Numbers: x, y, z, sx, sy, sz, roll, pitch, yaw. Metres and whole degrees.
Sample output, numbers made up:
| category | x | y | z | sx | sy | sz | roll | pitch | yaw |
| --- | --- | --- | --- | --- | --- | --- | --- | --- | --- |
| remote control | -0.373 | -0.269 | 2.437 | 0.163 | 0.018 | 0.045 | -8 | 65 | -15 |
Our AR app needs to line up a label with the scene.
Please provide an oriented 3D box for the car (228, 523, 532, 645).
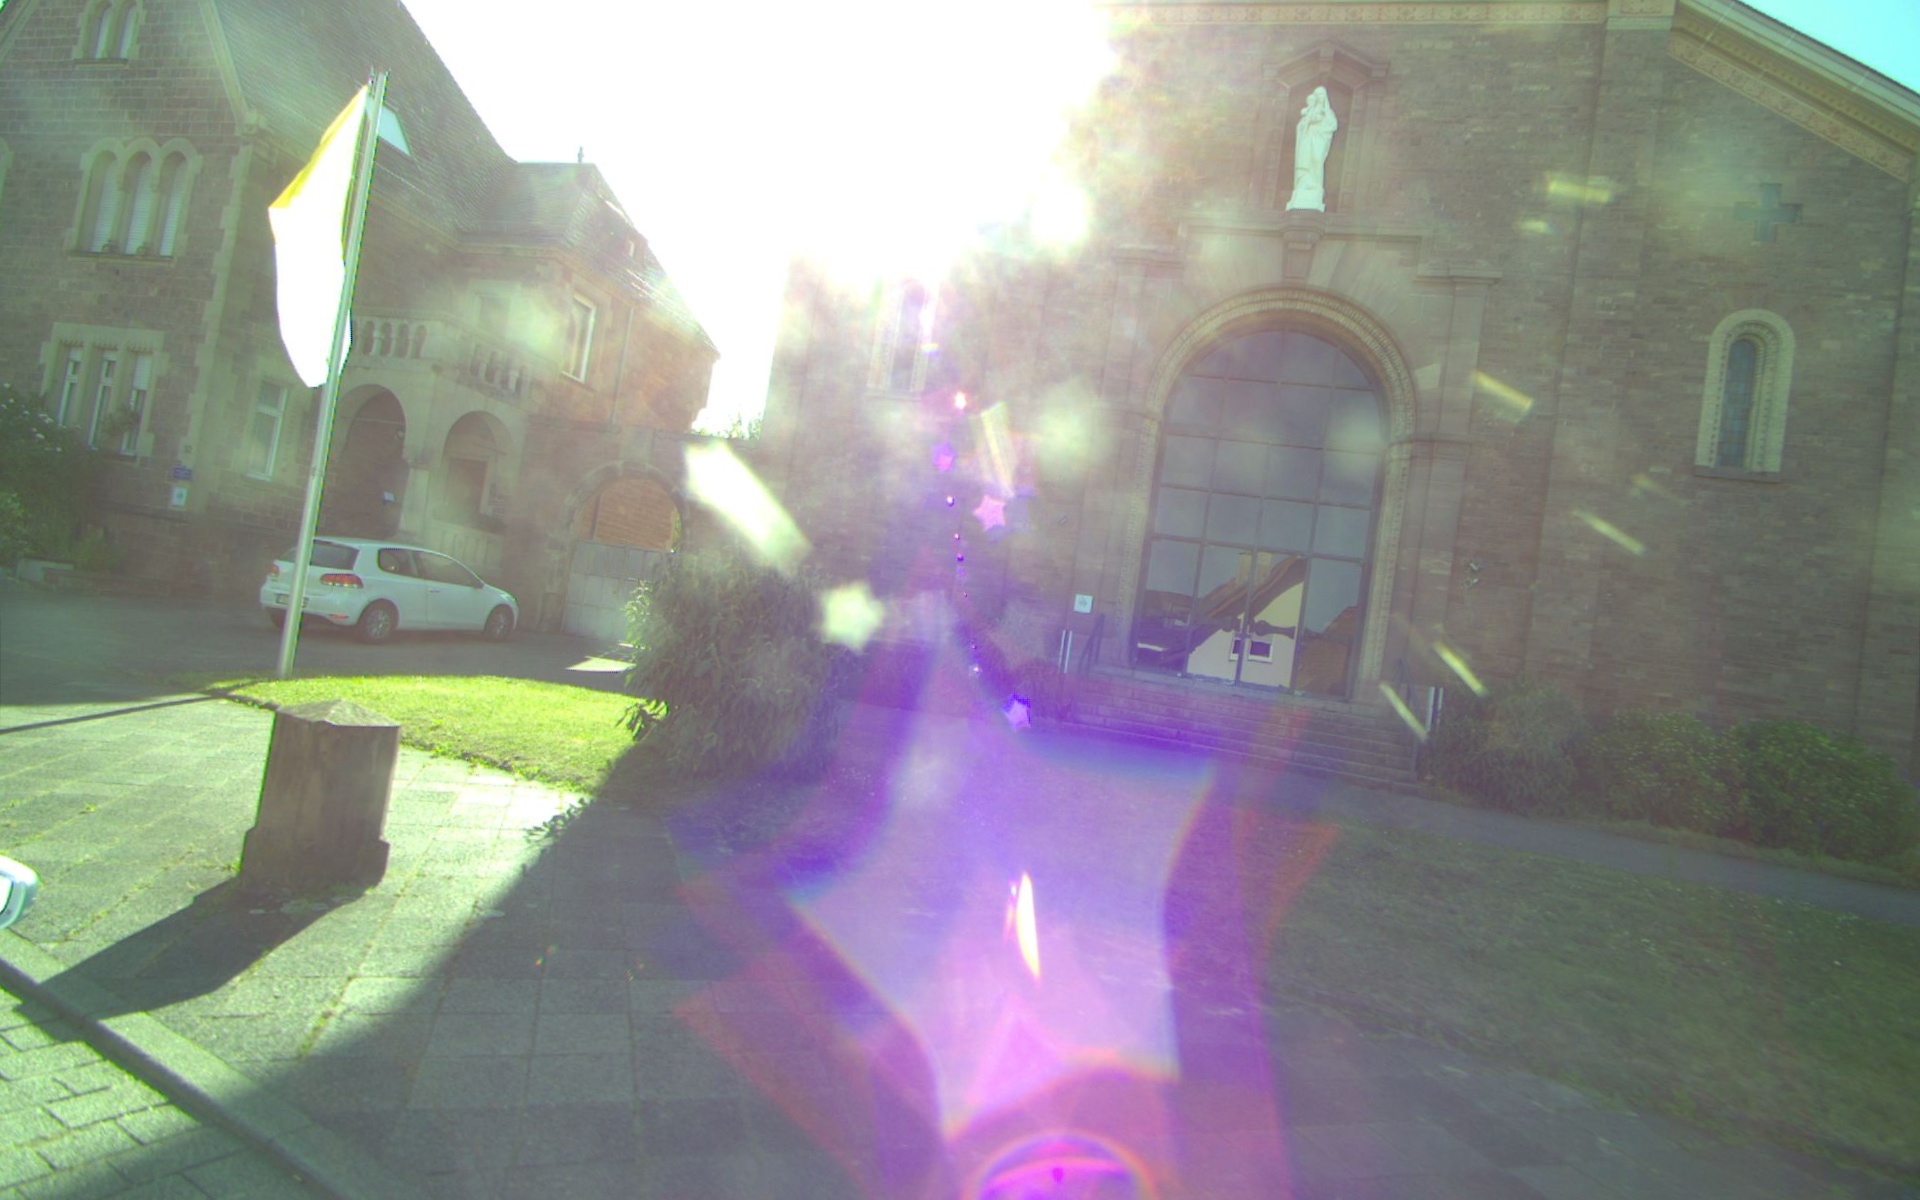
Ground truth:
| category | x | y | z | sx | sy | sz | roll | pitch | yaw |
| --- | --- | --- | --- | --- | --- | --- | --- | --- | --- |
| car | -8.960 | -0.173 | 15.962 | 1.868 | 1.515 | 3.912 | 7 | 0 | 15 |
